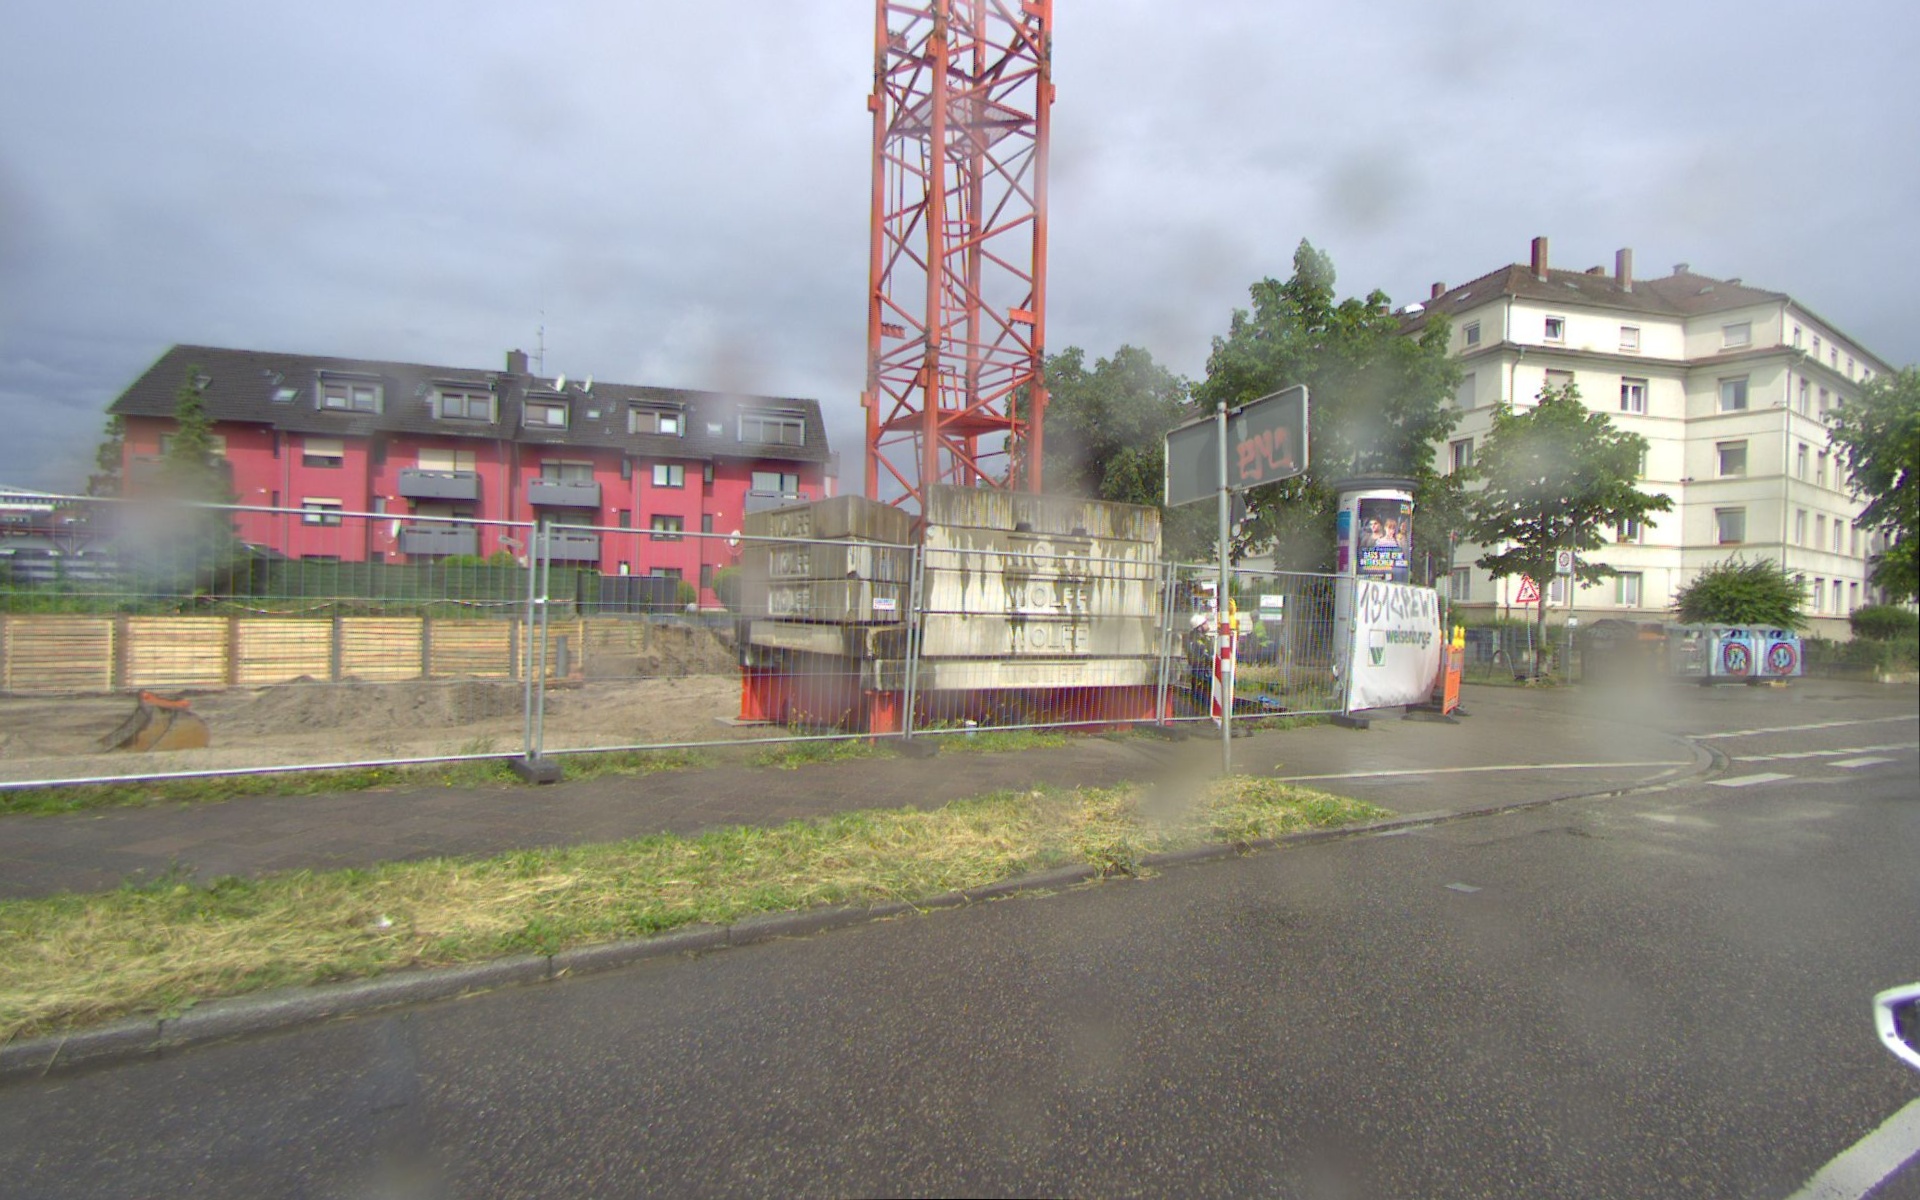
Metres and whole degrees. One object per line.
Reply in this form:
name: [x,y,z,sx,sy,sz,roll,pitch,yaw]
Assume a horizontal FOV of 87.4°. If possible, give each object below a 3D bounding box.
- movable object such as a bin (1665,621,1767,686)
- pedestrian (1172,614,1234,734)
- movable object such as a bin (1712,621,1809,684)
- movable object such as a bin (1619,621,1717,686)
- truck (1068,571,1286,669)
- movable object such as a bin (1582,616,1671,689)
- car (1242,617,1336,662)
movable object such as a bin: [20.538,1.431,27.325,1.637,1.696,1.539,1,-1,-13]
pedestrian: [3.534,1.050,14.572,0.709,1.651,0.684,3,1,20]
movable object such as a bin: [22.061,1.429,27.712,1.434,1.684,1.539,1,-1,-13]
movable object such as a bin: [18.963,1.407,26.939,1.501,1.678,1.539,1,-1,-13]
truck: [7.868,0.787,38.436,3.732,3.226,9.806,1,-1,-18]
movable object such as a bin: [17.502,1.361,26.409,1.241,1.848,1.539,1,-1,-13]
car: [12.506,1.487,38.398,1.639,1.606,3.494,1,-1,-19]
